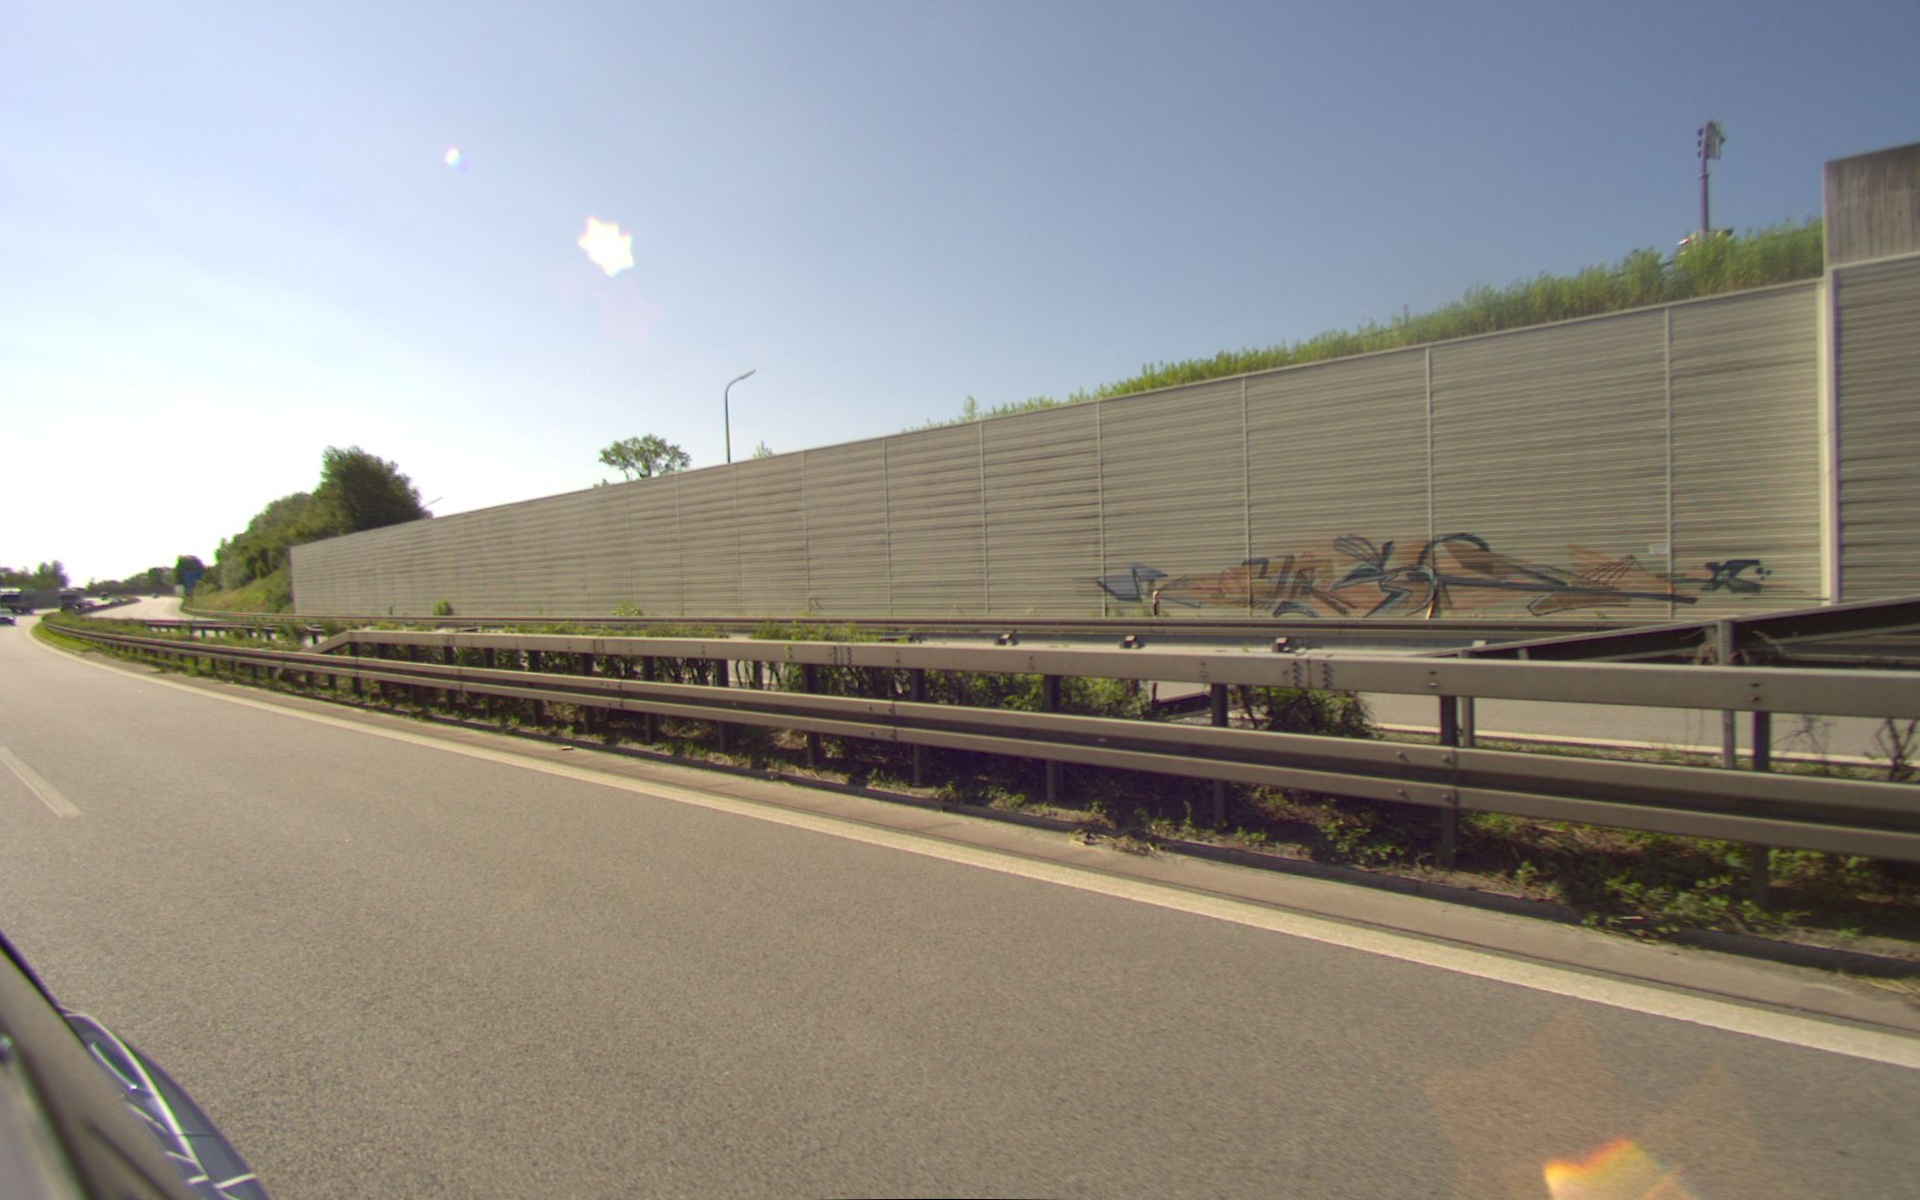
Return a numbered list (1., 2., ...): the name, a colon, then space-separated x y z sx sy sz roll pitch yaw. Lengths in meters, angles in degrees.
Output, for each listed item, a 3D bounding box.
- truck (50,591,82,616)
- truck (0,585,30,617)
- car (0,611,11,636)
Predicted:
1. truck: -154.791 0.590 175.293 3.382 4.243 12.110 -1 0 -38
2. truck: -133.442 0.129 142.028 3.382 4.243 12.109 -1 0 -38
3. car: -82.083 2.055 85.912 1.969 2.029 4.605 -2 -1 -41
